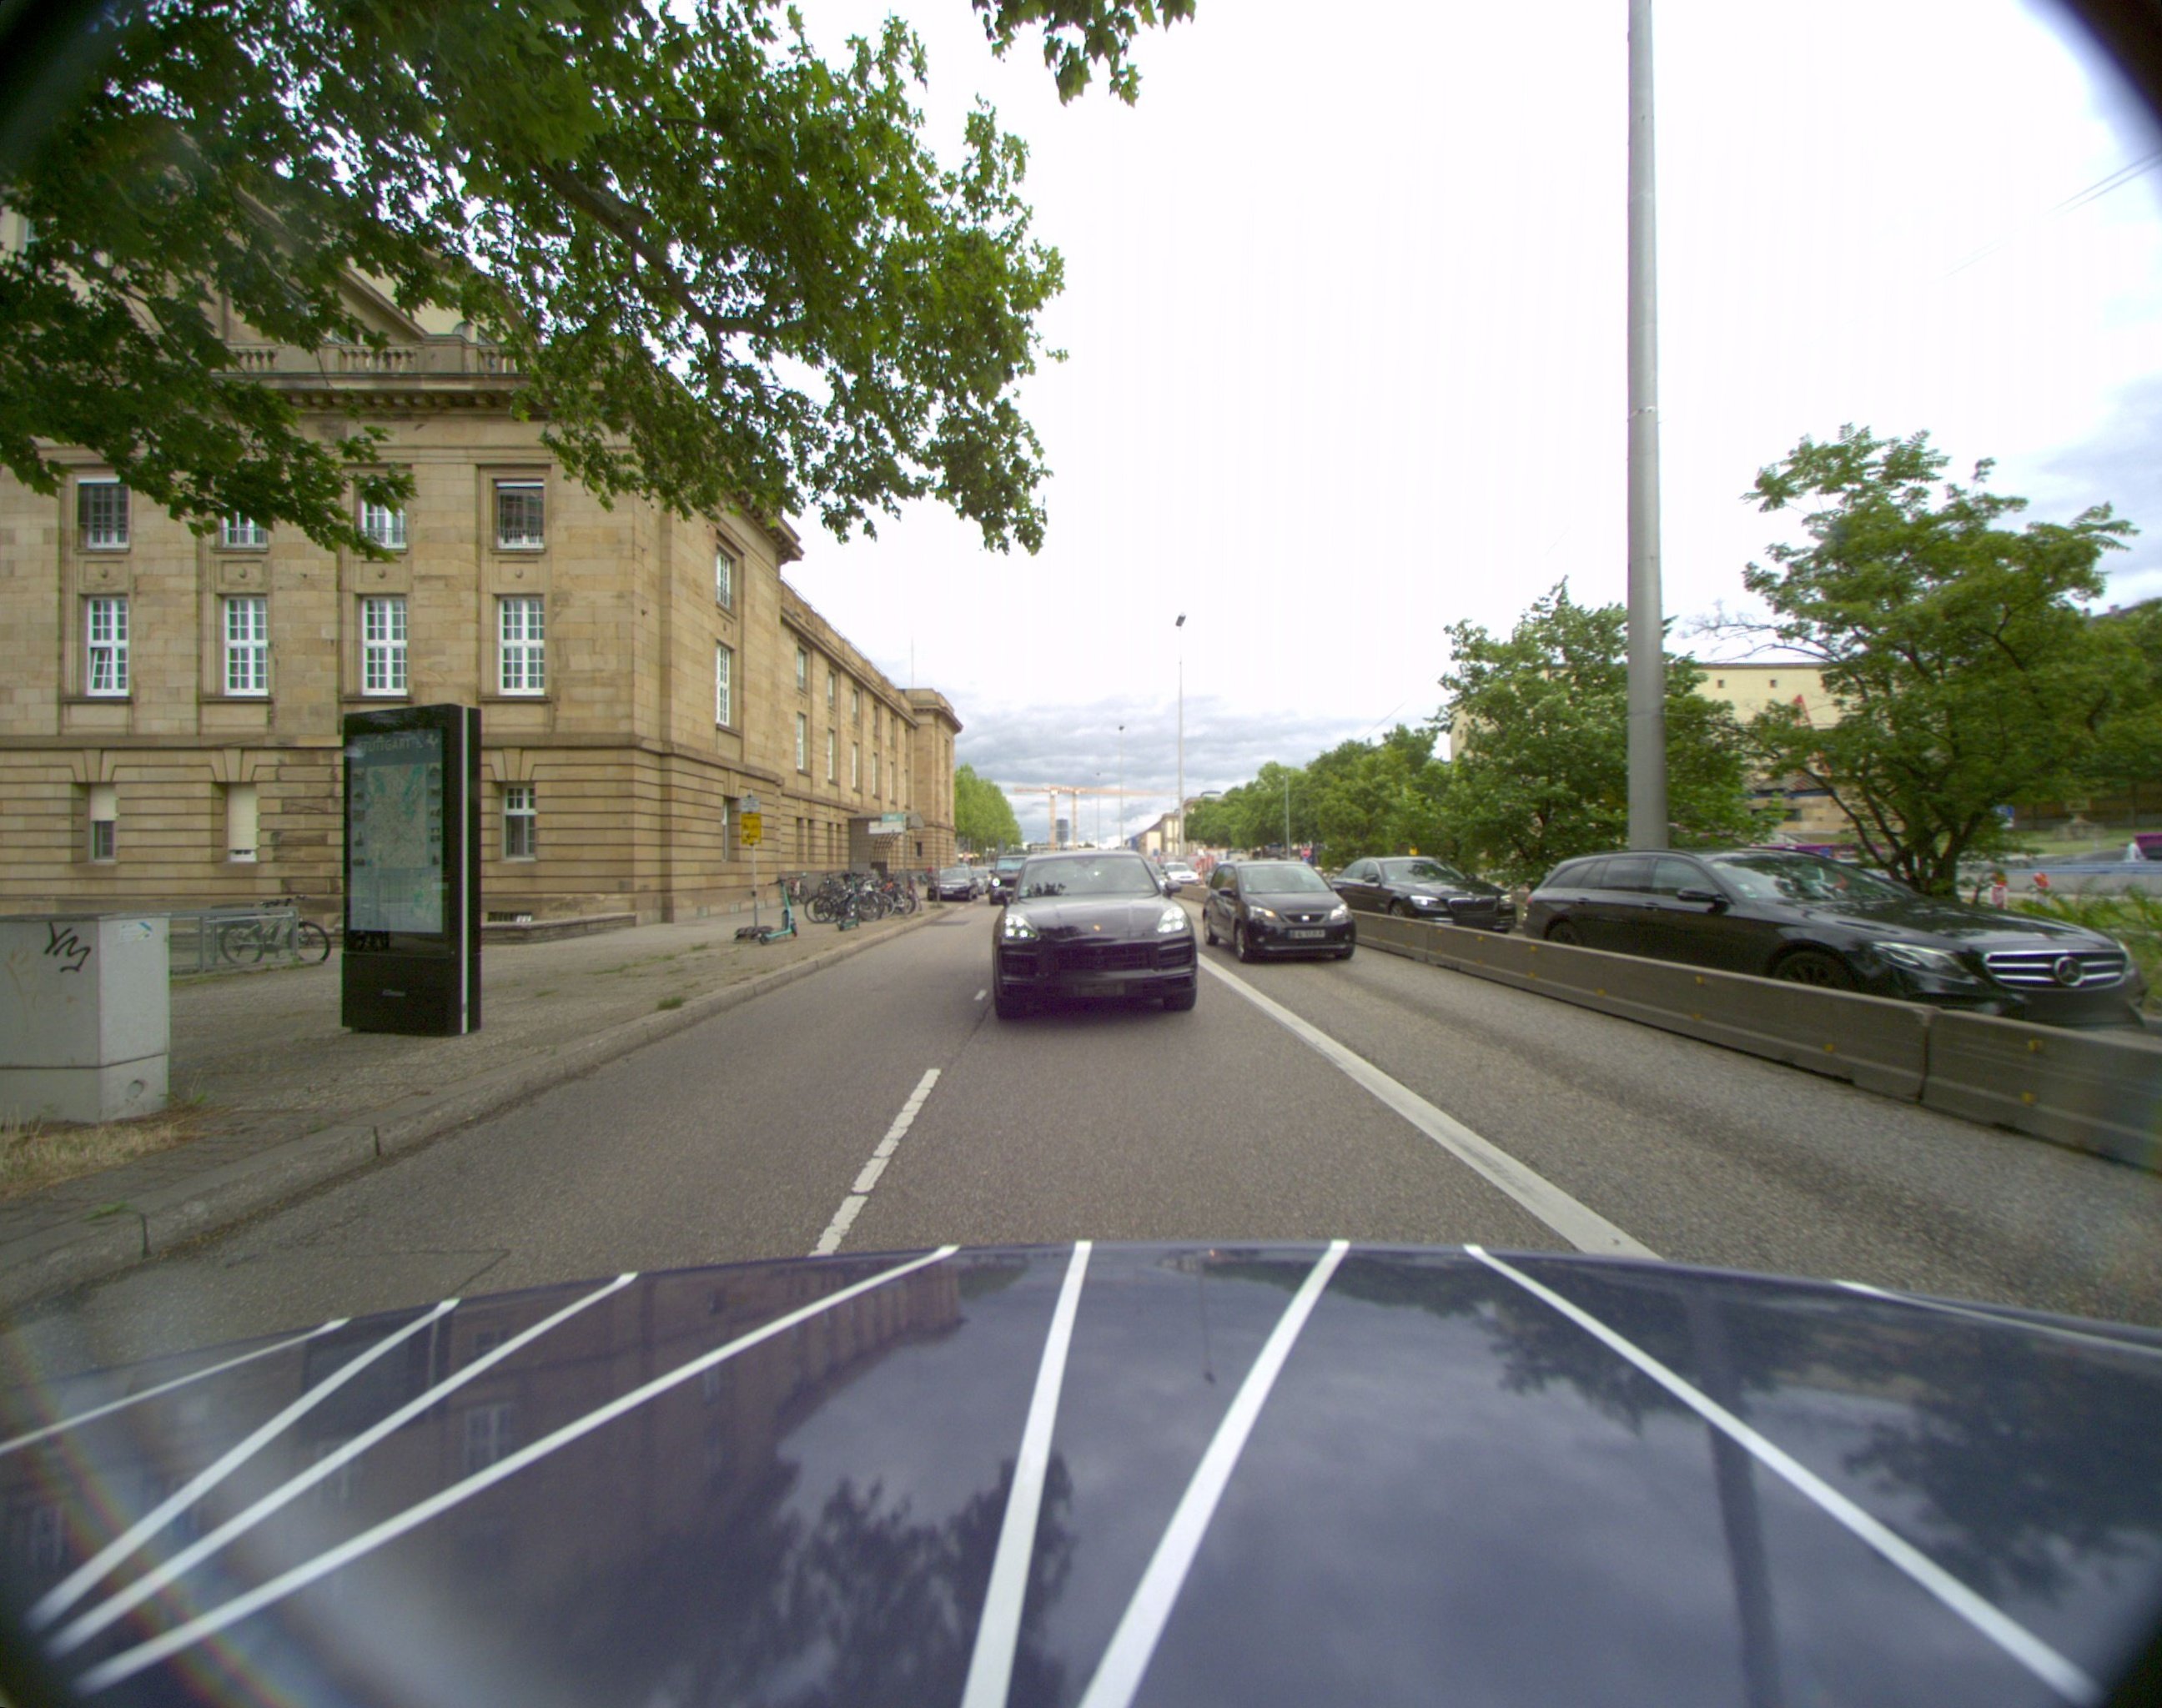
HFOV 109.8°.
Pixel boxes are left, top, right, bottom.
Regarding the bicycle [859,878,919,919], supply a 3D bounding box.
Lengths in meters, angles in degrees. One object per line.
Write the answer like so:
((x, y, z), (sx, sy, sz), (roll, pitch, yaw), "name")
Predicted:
((-5.691, 1.296, 22.552), (1.616, 1.123, 0.469), (-2, 0, -26), "bicycle")

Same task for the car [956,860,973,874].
((-13.659, 1.536, 89.509), (1.584, 1.521, 3.503), (-2, 0, -2), "car")

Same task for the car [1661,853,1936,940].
((17.376, 0.944, 18.902), (2.199, 1.864, 5.111), (-1, 0, 4), "car")

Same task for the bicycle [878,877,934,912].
((-5.626, 1.304, 24.381), (1.664, 1.068, 0.586), (-1, 0, 19), "bicycle")

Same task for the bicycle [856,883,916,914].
((-6.029, 1.370, 23.518), (1.730, 0.912, 0.614), (-1, 0, 19), "bicycle")

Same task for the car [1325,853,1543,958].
((6.391, 0.825, 14.525), (1.928, 1.626, 4.937), (-2, 0, 1), "car")

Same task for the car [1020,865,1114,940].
((-0.326, 1.037, 17.810), (1.930, 1.501, 4.000), (-1, 0, -1), "car")

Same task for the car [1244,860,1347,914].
((6.446, 0.923, 23.306), (1.664, 1.445, 4.196), (-2, 0, -4), "car")

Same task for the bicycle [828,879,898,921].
((-6.006, 1.279, 20.991), (1.731, 1.085, 0.575), (-2, 0, 9), "bicycle")

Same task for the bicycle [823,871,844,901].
((-10.456, 1.329, 32.169), (0.276, 1.176, 1.538), (-2, 0, 2), "bicycle")

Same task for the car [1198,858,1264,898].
((6.210, 0.955, 31.849), (1.677, 1.498, 3.852), (-2, 0, -5), "car")

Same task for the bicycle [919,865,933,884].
((-10.441, 1.392, 51.183), (0.557, 1.209, 1.916), (-1, 0, 0), "bicycle")

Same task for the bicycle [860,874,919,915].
((-5.637, 1.180, 22.387), (1.616, 1.123, 0.407), (-2, 0, -26), "bicycle")

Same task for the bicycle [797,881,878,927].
((-6.220, 1.271, 19.432), (1.860, 1.085, 0.666), (-2, 0, 13), "bicycle")

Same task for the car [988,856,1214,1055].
((-0.008, 0.873, 8.568), (1.908, 1.648, 4.199), (-1, 0, -5), "car")

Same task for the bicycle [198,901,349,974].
((-13.270, 1.369, 12.506), (2.016, 1.119, 0.389), (-1, 1, 0), "bicycle")

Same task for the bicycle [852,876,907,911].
((-6.217, 1.215, 23.401), (1.565, 1.022, 0.436), (-2, 0, 11), "bicycle")

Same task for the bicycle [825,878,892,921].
((-6.025, 1.235, 20.562), (1.731, 1.085, 0.381), (-2, 0, 13), "bicycle")

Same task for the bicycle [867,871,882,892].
((-10.476, 1.380, 38.521), (0.222, 1.023, 1.859), (-2, 0, 0), "bicycle")

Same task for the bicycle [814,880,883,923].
((-6.134, 1.255, 20.036), (1.731, 1.085, 0.426), (-2, 0, 13), "bicycle")

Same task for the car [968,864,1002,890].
((-5.805, 1.359, 46.481), (1.620, 1.446, 3.858), (1, 0, -1), "car")

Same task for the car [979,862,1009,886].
((-5.887, 1.332, 51.923), (1.549, 1.543, 3.709), (0, 0, 1), "car")

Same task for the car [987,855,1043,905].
((-2.663, 1.007, 31.643), (1.952, 1.914, 4.399), (-1, 0, 0), "car")

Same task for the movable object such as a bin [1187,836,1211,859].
((11.332, -0.591, 72.829), (1.526, 2.172, 3.291), (-1, 0, -5), "movable object such as a bin")

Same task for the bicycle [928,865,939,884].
((-10.210, 1.437, 52.709), (0.413, 1.280, 1.790), (-1, 0, 0), "bicycle")

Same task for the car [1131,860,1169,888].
((4.448, 1.270, 49.554), (1.781, 1.611, 4.044), (-2, 0, -5), "car")

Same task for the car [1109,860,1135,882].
((3.189, 1.299, 59.296), (1.731, 1.611, 3.944), (-2, 0, -1), "car")

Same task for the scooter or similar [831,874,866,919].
((-6.918, 1.241, 22.639), (0.563, 1.271, 1.149), (-2, 0, 6), "scooter or similar")

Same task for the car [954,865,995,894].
((-5.722, 1.344, 41.101), (1.713, 1.417, 3.996), (0, 0, -1), "car")

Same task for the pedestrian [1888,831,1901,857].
((50.552, -0.632, 47.223), (0.348, 1.602, 0.405), (-3, 1, 1), "pedestrian")

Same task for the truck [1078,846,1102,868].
((1.177, 0.387, 100.257), (2.978, 2.757, 7.254), (0, 0, -1), "truck")

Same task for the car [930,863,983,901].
((-5.469, 1.207, 33.794), (1.793, 1.477, 4.324), (-1, 0, -2), "car")

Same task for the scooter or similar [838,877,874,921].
((-6.652, 1.318, 22.472), (0.426, 1.217, 1.313), (-2, 1, 10), "scooter or similar")

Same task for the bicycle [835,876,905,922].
((-5.946, 1.250, 21.448), (1.762, 1.202, 0.604), (-2, 0, -3), "bicycle")

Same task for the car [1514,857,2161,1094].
((6.418, 0.786, 7.232), (1.821, 1.490, 4.768), (-1, 0, -1), "car")

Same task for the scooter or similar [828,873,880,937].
((-5.110, 1.125, 17.205), (0.727, 1.323, 1.413), (-2, 0, -1), "scooter or similar")

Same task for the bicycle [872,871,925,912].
((-5.757, 1.181, 23.976), (1.544, 1.249, 0.544), (-2, 0, 19), "bicycle")

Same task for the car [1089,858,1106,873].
((1.970, 1.366, 92.746), (1.843, 1.751, 4.479), (0, 0, -2), "car")

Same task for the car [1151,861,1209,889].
((5.509, 1.140, 42.900), (1.884, 1.472, 4.700), (-2, 0, -10), "car")

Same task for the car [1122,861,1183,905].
((2.691, 1.067, 29.485), (1.690, 1.496, 3.998), (-1, 0, -4), "car")

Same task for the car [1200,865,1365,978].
((2.991, 0.931, 12.021), (1.612, 1.464, 3.622), (-1, 0, 0), "car")

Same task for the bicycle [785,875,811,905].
((-10.406, 1.310, 27.991), (0.241, 0.992, 1.962), (-1, 0, 0), "bicycle")

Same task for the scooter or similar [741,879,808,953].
((-5.832, 1.153, 14.546), (0.432, 1.273, 1.435), (-2, 0, 11), "scooter or similar")
